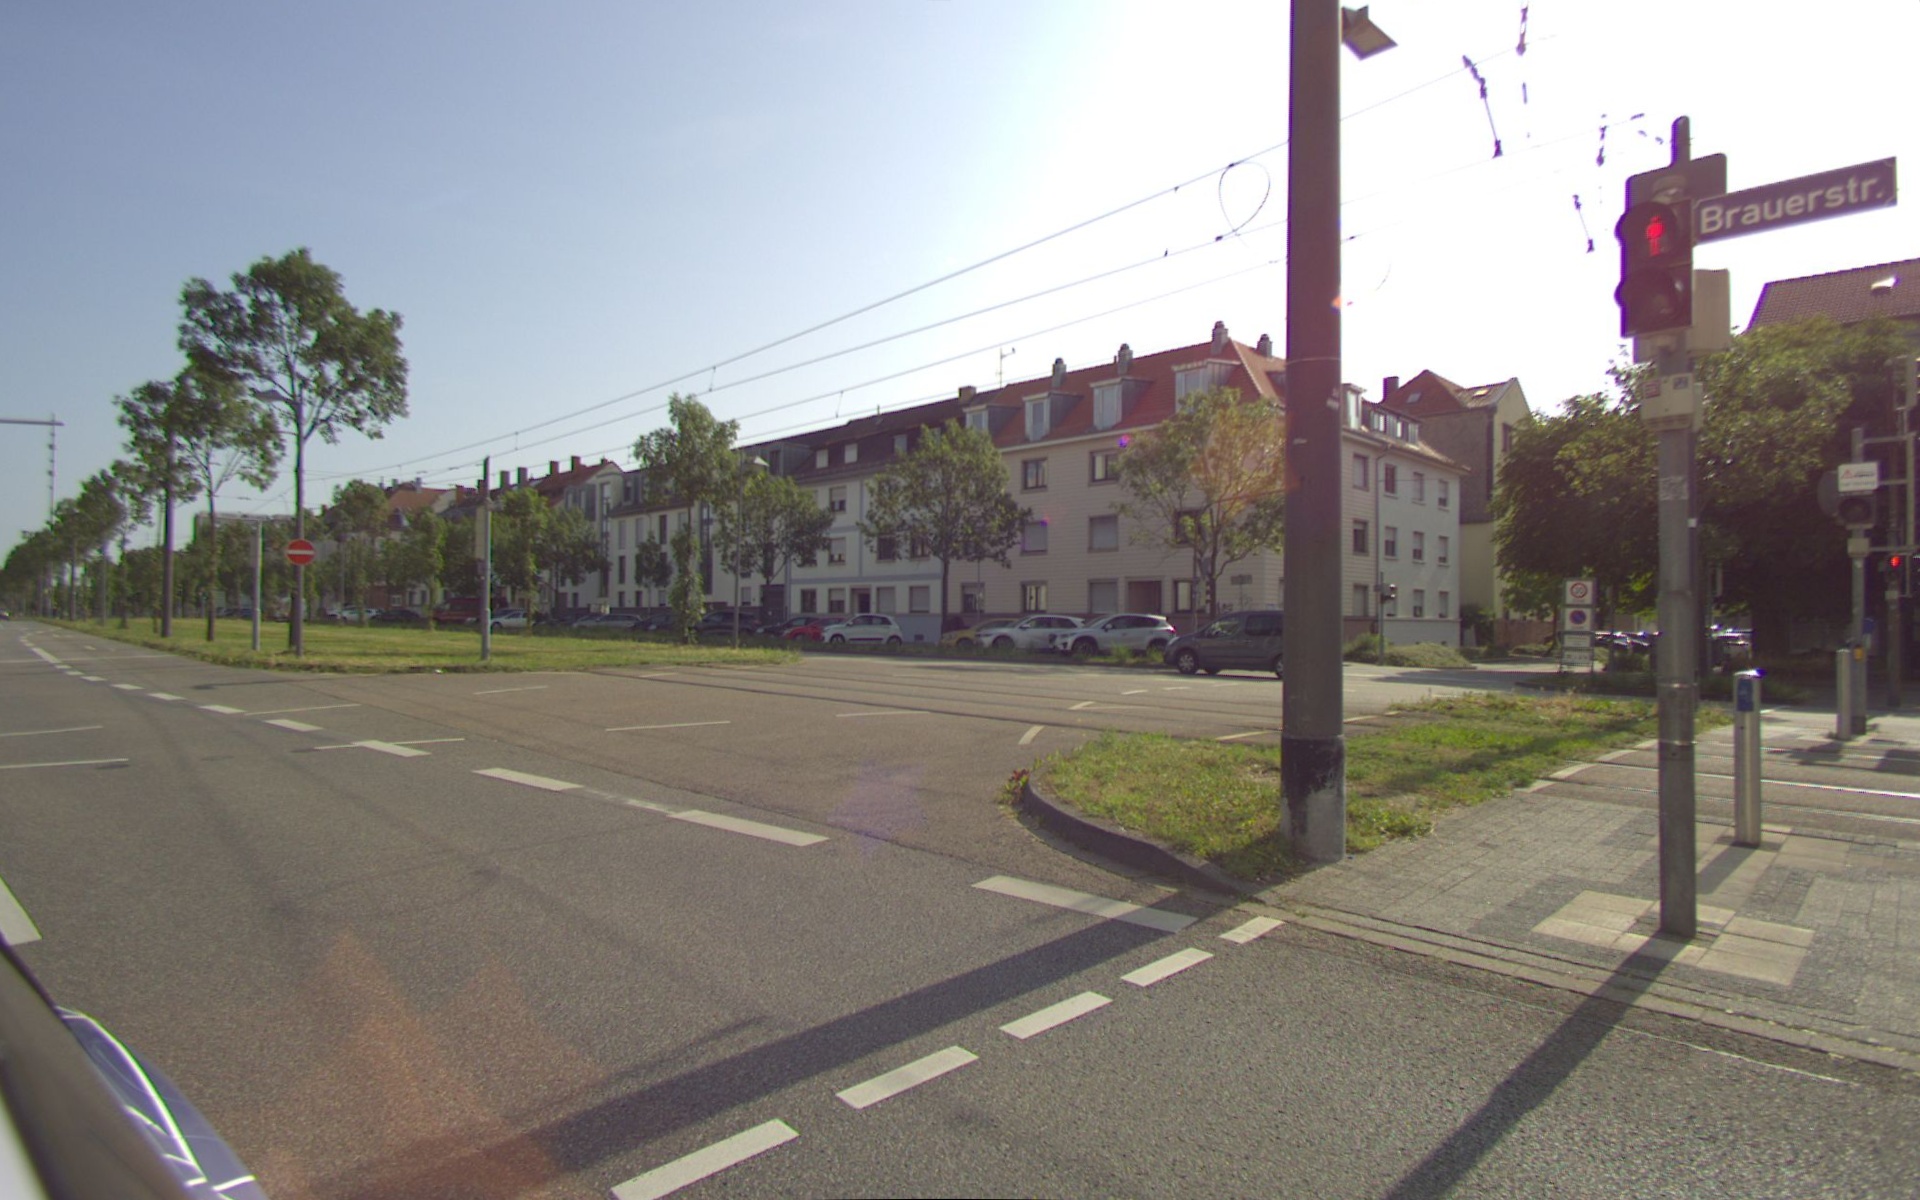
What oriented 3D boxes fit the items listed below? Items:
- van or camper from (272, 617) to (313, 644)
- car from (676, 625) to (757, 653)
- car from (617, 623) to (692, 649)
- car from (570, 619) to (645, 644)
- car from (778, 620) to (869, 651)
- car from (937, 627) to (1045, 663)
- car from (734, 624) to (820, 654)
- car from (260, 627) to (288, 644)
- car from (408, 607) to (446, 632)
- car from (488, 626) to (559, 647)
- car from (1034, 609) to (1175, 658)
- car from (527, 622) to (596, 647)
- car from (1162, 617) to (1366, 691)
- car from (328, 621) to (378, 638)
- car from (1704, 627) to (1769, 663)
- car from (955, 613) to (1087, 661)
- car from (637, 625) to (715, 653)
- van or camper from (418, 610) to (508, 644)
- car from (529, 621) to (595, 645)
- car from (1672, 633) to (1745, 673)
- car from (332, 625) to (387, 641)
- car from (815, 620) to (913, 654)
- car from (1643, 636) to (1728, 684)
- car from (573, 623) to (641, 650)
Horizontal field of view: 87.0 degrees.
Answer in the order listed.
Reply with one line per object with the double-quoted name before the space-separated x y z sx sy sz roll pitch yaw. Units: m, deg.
"van or camper" -65.607 2.955 99.424 2.117 2.493 6.062 3 -3 -45
"car" -12.751 2.012 53.002 3.990 1.298 2.006 -1 0 -17
"car" -17.281 2.024 57.182 3.931 1.298 2.006 -1 0 -19
"car" -21.683 1.905 62.340 4.265 1.386 2.006 -1 0 -19
"car" -6.199 1.585 45.832 3.934 1.268 1.880 -1 0 -12
"car" 1.150 1.712 38.908 3.940 1.187 2.002 -1 0 -4
"car" -8.685 1.829 48.083 3.934 1.244 1.703 -1 0 -11
"car" -70.815 3.670 104.475 1.794 1.751 4.165 1 -2 -43
"car" -55.034 1.997 104.465 1.970 2.481 5.583 -1 0 -43
"car" -30.777 2.586 71.459 4.327 1.330 1.738 -1 0 -12
"car" 4.877 1.099 34.314 4.281 1.474 1.968 -1 0 -11
"car" -25.287 2.181 64.379 3.931 1.386 1.933 -1 0 -18
"car" 7.878 1.373 26.477 4.709 1.719 1.973 0 -3 40
"car" -62.136 3.003 103.642 4.035 1.541 1.816 -1 0 -7
"car" 37.607 2.132 48.966 3.939 1.486 1.823 -1 0 -42
"car" 2.164 1.304 36.620 4.394 1.526 2.004 -1 0 -8
"car" -15.414 2.094 54.809 3.931 1.298 2.006 -1 0 -19
"van or camper" -39.744 2.139 81.032 6.065 2.566 2.418 0 -1 -7
"car" -26.206 2.175 66.736 3.931 1.386 1.841 -1 0 -17
"car" 32.441 2.257 43.829 3.939 1.486 1.823 -1 0 -42
"car" -60.306 3.290 101.704 4.298 1.486 1.861 -1 0 -7
"car" -4.179 1.570 43.826 3.933 1.279 1.892 -1 0 -15
"car" 29.000 2.341 40.427 3.939 1.618 2.001 -1 0 -42
"car" -20.859 2.133 59.855 3.716 1.386 1.670 -1 0 -19
